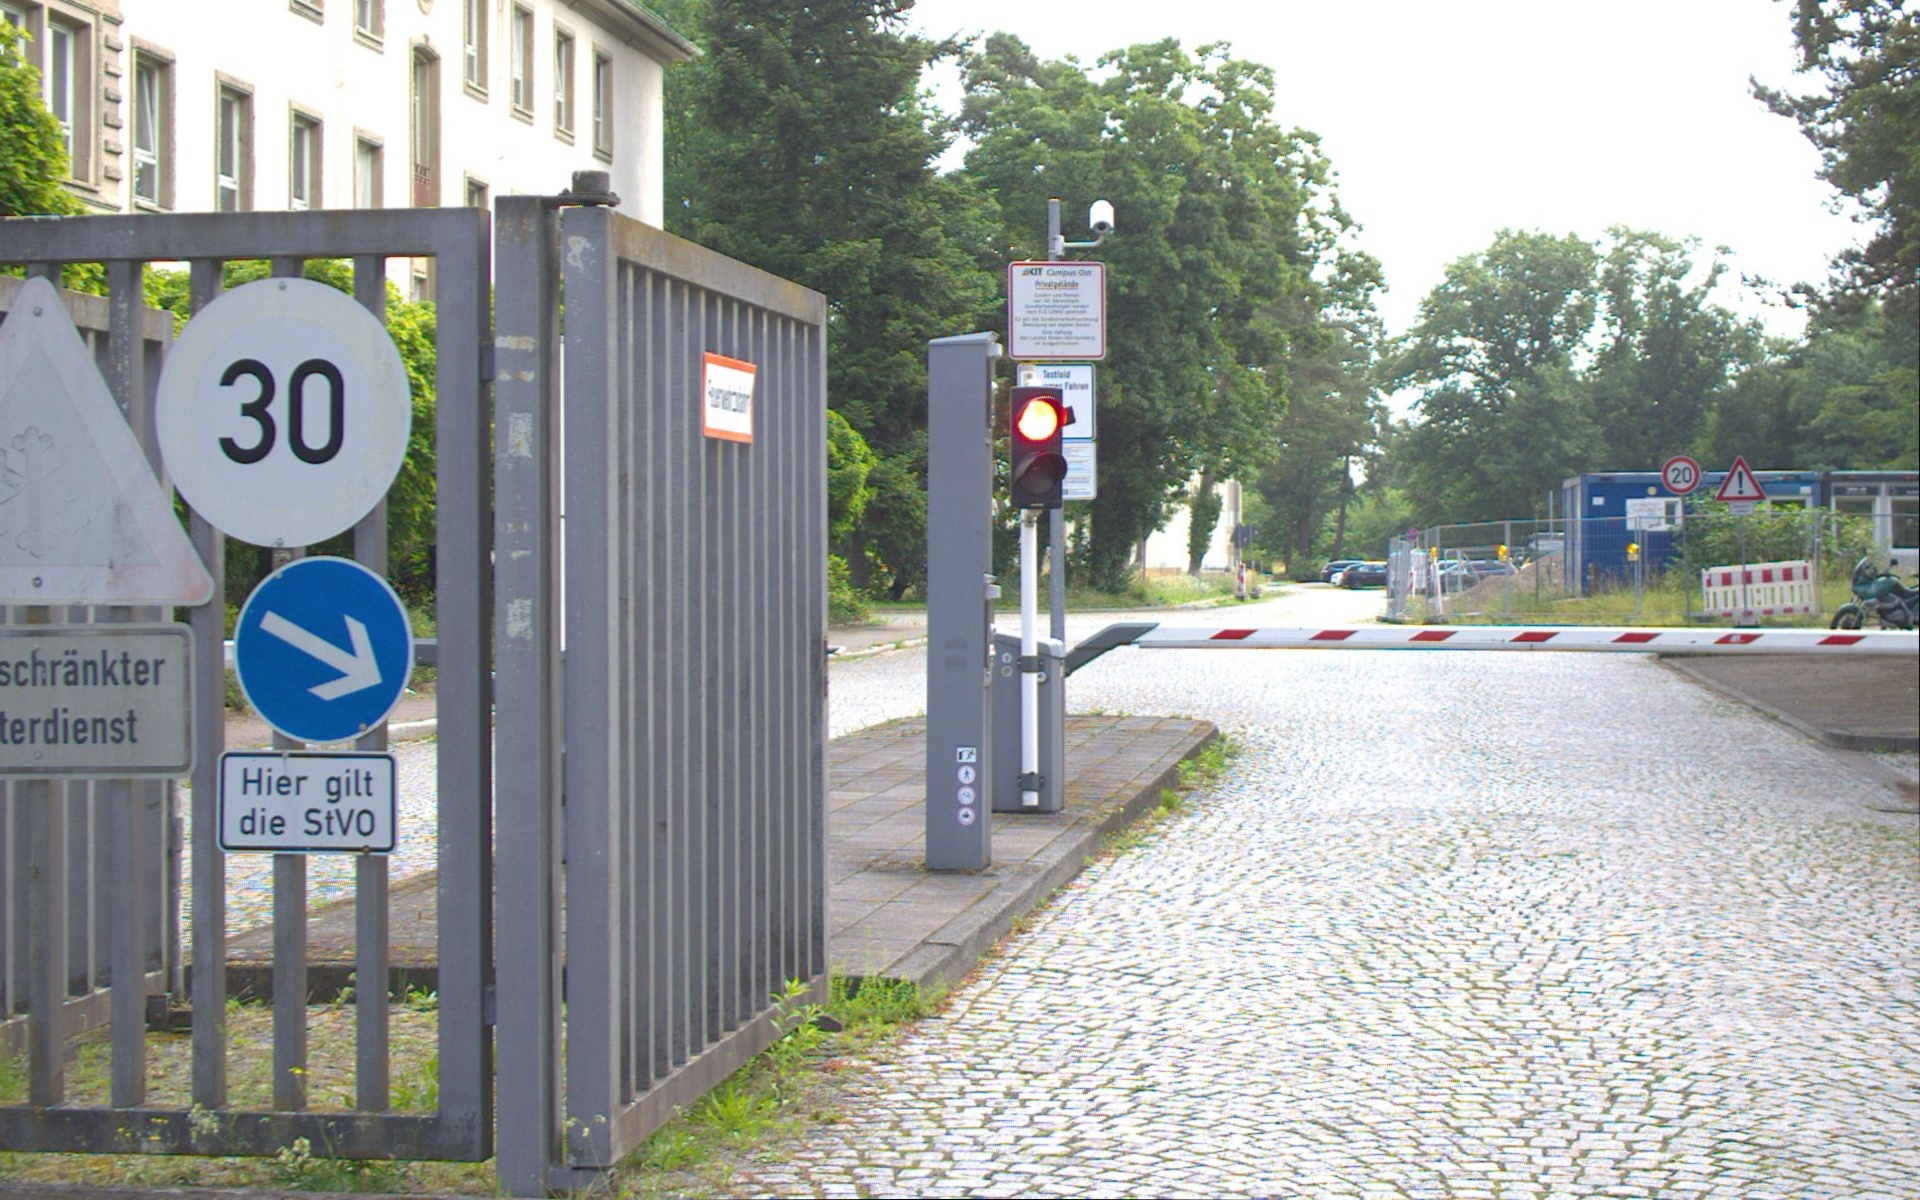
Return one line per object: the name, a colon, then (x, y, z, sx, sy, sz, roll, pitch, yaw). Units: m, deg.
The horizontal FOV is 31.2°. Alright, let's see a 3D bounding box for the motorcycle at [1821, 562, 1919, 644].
motorcycle: (14.344, 0.042, 53.125, 1.957, 1.191, 0.461, -1, 5, 6)
